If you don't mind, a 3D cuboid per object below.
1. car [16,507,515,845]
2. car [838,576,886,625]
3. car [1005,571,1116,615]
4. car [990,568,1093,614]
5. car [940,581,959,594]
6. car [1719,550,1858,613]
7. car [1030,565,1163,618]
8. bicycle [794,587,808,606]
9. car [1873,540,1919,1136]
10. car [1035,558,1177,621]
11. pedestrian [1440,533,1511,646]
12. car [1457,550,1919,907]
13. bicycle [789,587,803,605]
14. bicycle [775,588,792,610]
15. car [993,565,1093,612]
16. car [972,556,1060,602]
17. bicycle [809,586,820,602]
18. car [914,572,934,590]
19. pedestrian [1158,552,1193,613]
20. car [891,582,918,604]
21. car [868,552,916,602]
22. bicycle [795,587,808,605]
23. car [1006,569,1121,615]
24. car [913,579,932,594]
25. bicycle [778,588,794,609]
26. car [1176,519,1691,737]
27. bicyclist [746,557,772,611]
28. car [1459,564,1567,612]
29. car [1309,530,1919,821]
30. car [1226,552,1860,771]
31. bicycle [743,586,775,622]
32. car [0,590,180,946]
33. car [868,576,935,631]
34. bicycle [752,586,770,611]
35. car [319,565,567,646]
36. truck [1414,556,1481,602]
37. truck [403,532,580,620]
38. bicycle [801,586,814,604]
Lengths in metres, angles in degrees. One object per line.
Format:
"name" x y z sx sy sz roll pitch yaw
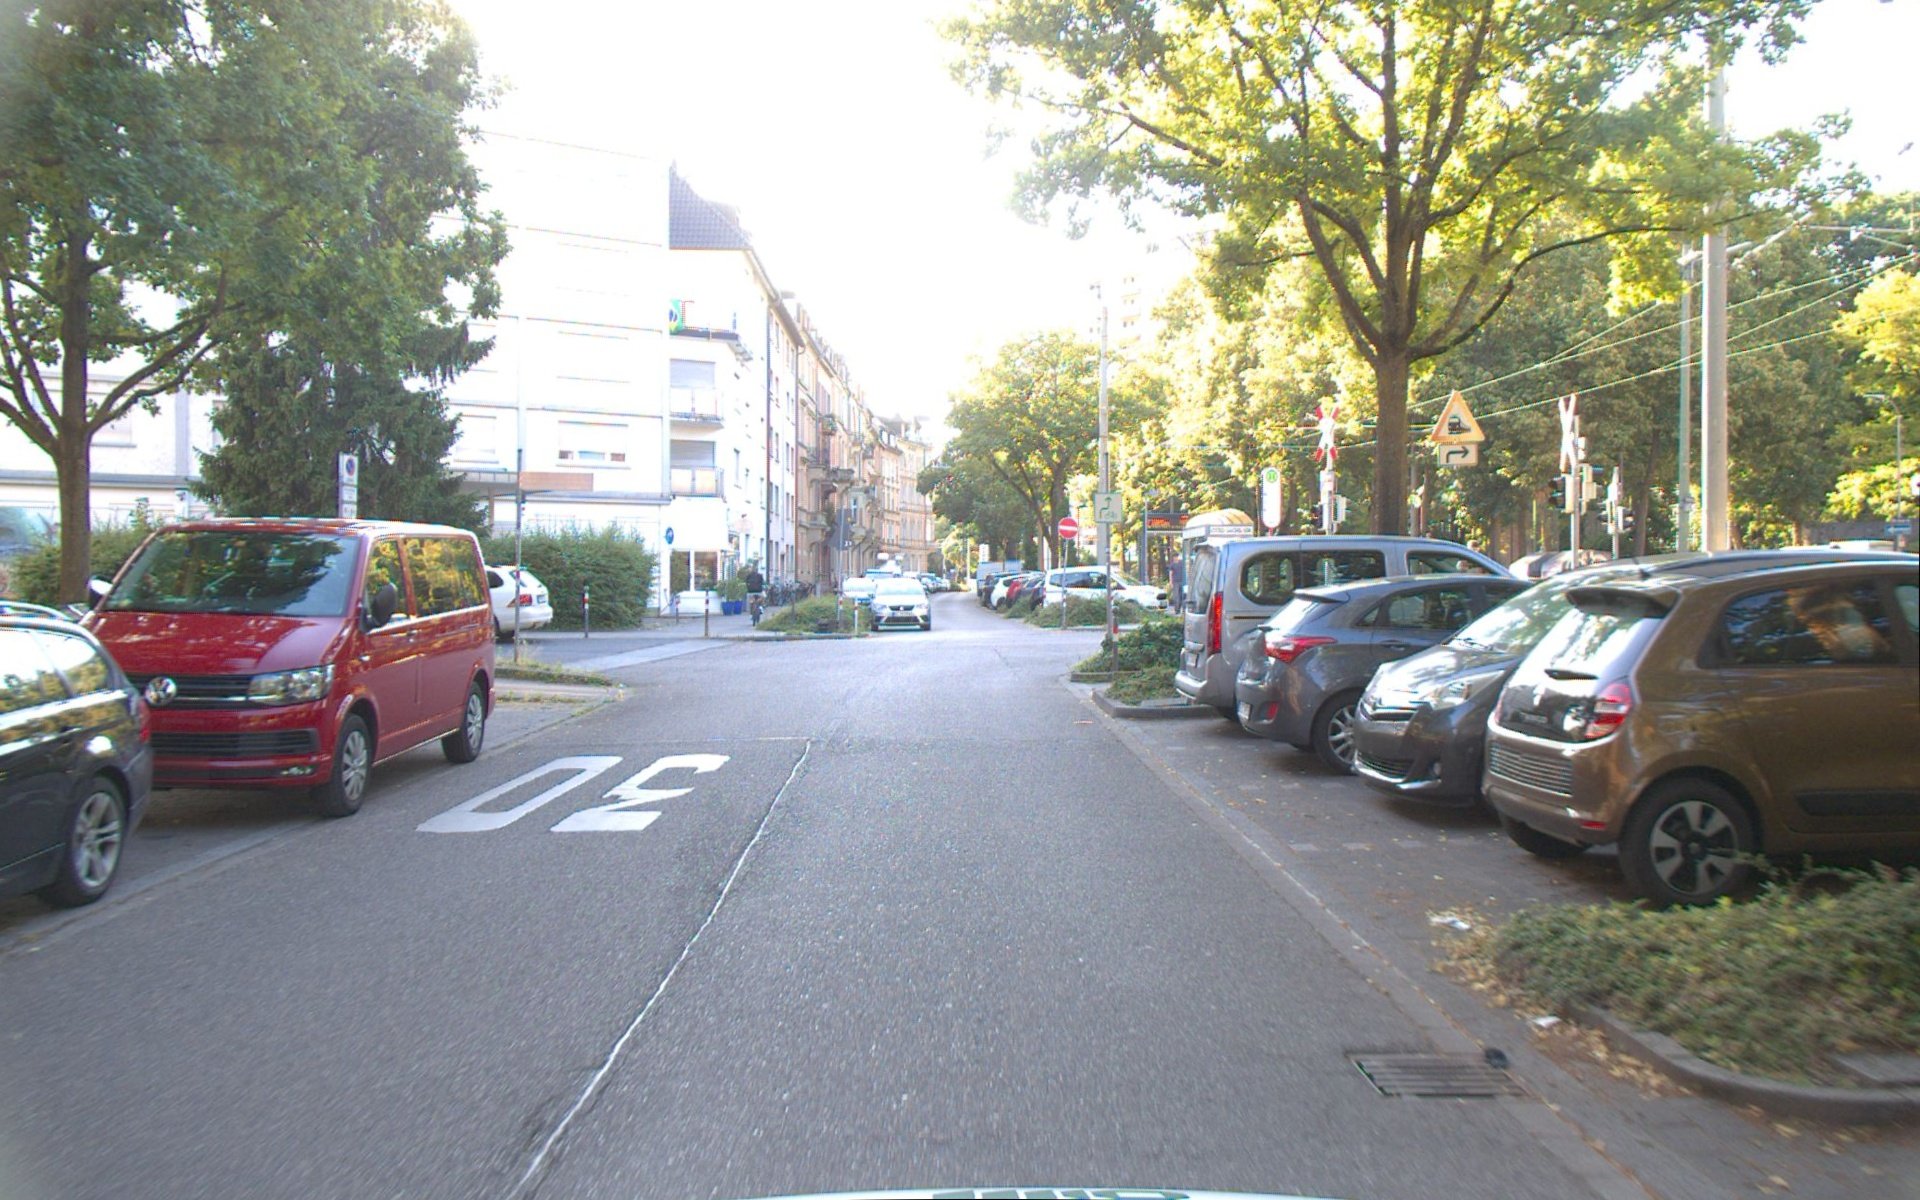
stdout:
"car" -4.776 0.417 12.237 1.740 1.967 4.771 2 1 -2
"car" -3.592 -0.025 60.830 1.676 1.702 3.998 -2 1 -3
"car" 4.089 -0.285 67.421 4.142 1.484 1.607 -4 0 24
"car" 3.587 -0.376 73.005 4.156 1.680 1.852 -4 0 36
"car" -1.172 -1.446 193.444 1.674 1.471 4.004 -1 1 7
"car" 28.128 -0.640 56.354 1.908 2.038 4.650 -1 1 -9
"car" 4.620 -0.302 56.094 4.108 1.461 1.700 -4 0 24
"bicycle" -8.798 -0.184 91.315 0.614 1.020 2.175 0 1 -1
"car" 4.851 0.617 3.606 4.603 1.600 2.000 0 0 1
"car" 4.632 -0.337 52.594 4.149 1.681 1.605 -4 0 30
"pedestrian" 9.091 -0.184 29.211 0.884 1.952 1.150 -1 1 0
"car" 5.036 0.573 8.416 4.444 1.600 1.950 0 0 1
"bicycle" -9.349 -0.236 94.289 0.614 1.020 2.175 0 1 -1
"bicycle" -8.635 -0.058 80.902 0.614 1.020 2.175 0 1 -1
"car" 3.788 -0.524 75.813 4.156 1.779 1.852 -4 0 36
"car" 3.697 -1.384 108.905 5.151 2.616 2.271 -4 0 28
"bicycle" -9.612 -0.426 109.462 0.614 1.020 2.175 0 1 -1
"car" -3.764 -1.993 173.154 1.675 1.852 4.002 -1 1 4
"pedestrian" 6.914 -0.554 52.994 0.832 1.944 0.836 0 0 31
"car" -3.925 -0.511 117.632 1.675 1.471 4.001 -2 1 1
"car" -4.176 -1.414 102.166 2.499 2.937 5.483 -1 1 2
"bicycle" -9.278 -0.268 96.687 0.614 1.020 2.175 0 1 -1
"car" 4.042 -0.313 64.650 4.142 1.484 1.607 -4 0 24
"car" -3.696 -1.349 164.751 1.675 1.471 4.001 -1 1 2
"bicycle" -8.893 -0.100 84.434 0.614 1.020 2.175 0 1 -1
"car" 4.429 0.257 16.026 4.444 1.948 1.950 0 0 1
"bicyclist" -6.215 -0.486 51.110 0.697 1.645 0.723 -1 0 0
"car" 20.079 -0.458 60.044 3.535 1.589 1.607 3 2 23
"car" 4.750 0.439 11.052 4.350 1.721 1.947 0 0 -7
"car" 4.510 0.463 13.358 4.444 1.600 1.950 0 0 1
"bicycle" -6.213 0.106 51.146 0.697 1.069 2.347 -1 1 0
"car" -4.878 0.714 6.451 1.740 1.458 4.269 2 1 -2
"car" -1.731 0.074 47.915 1.677 1.471 3.996 -2 1 -5
"bicycle" -8.449 -0.078 70.341 0.520 1.020 2.176 0 1 0
"car" -10.055 0.086 32.379 4.193 1.475 1.924 -1 2 2
"truck" 26.182 -1.132 88.973 2.318 2.393 4.383 0 1 0
"truck" -14.448 -0.749 51.089 4.916 2.579 1.975 -1 1 -36
"bicycle" -9.211 -0.297 99.896 0.614 1.020 2.175 0 1 -1
